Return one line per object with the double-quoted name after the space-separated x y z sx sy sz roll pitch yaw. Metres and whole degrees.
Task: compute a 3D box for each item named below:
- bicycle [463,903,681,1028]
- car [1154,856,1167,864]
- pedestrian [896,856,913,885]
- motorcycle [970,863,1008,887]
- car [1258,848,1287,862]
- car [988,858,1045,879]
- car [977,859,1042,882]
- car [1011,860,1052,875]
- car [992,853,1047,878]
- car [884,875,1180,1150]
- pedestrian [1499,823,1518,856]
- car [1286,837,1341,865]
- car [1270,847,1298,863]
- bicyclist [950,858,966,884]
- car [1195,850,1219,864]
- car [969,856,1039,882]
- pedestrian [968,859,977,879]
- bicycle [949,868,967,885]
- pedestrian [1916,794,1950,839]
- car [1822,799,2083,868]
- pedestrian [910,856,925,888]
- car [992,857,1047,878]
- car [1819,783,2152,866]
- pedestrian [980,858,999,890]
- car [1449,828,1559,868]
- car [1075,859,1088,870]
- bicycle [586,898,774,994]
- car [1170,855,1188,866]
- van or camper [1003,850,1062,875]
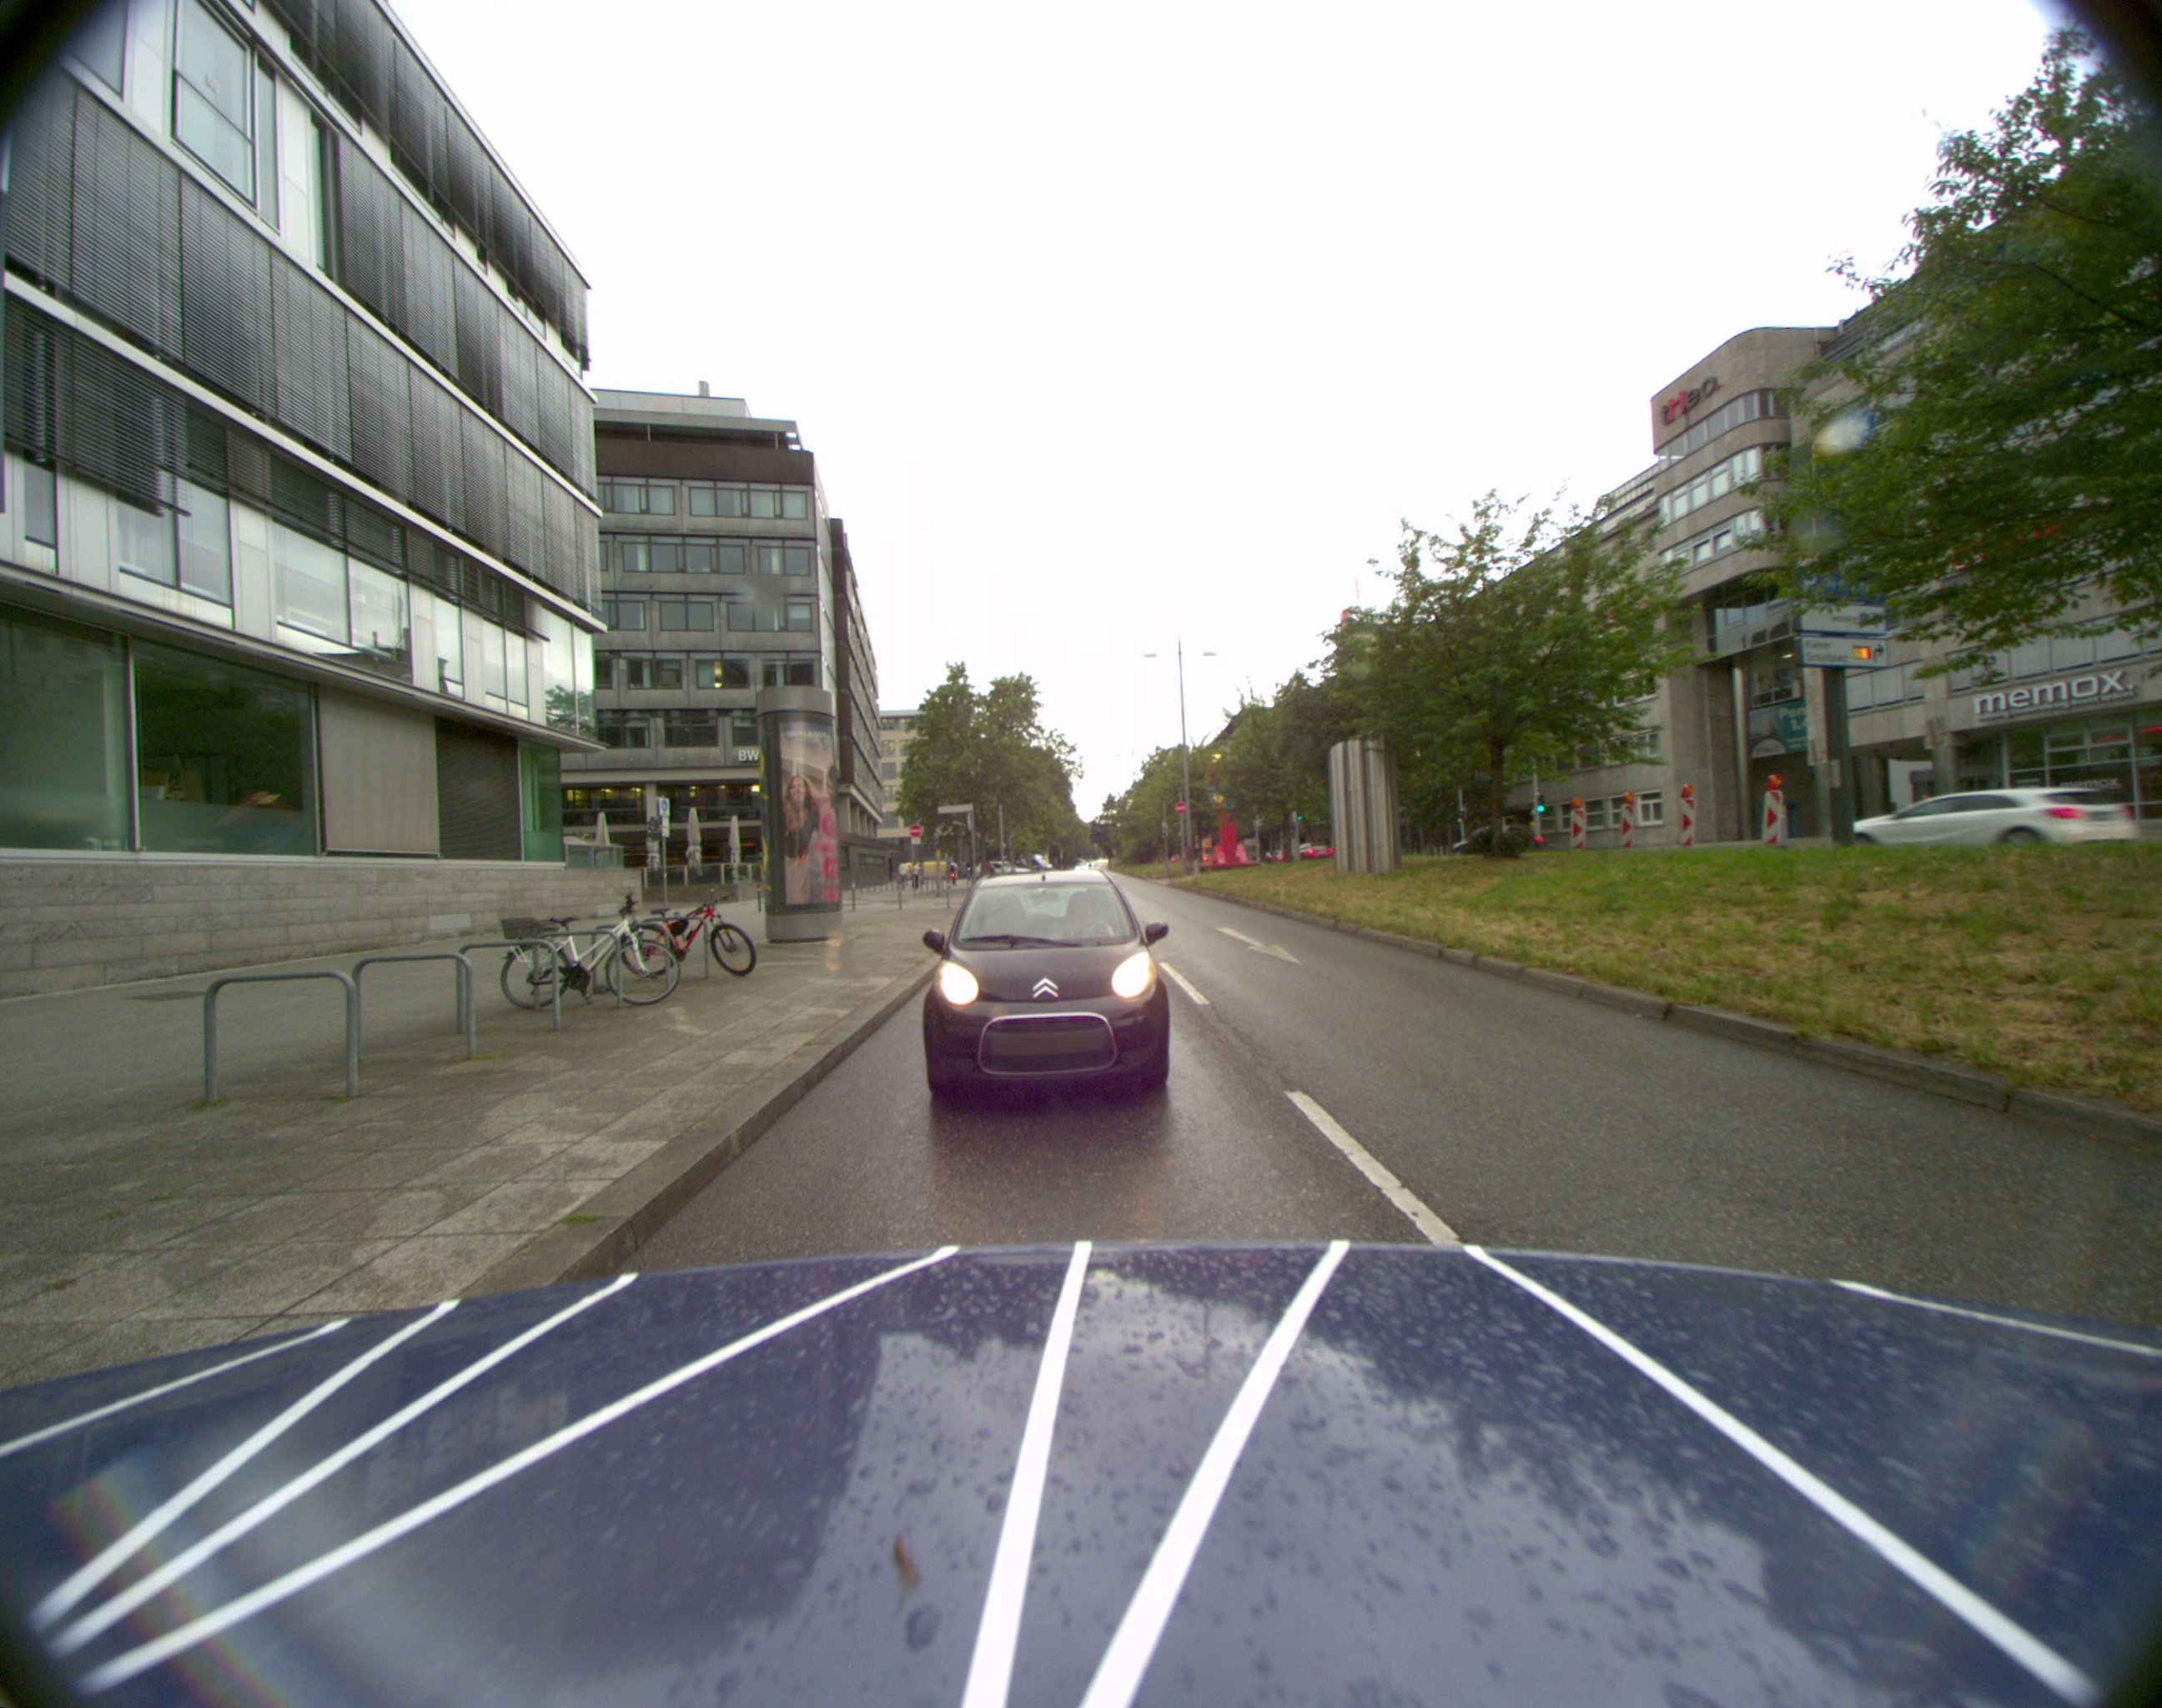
-5.297 1.144 7.964 1.840 1.190 0.660 -1 0 4 "bicycle"
13.557 1.056 129.589 1.794 1.406 4.000 -1 -1 -1 "car"
-11.662 1.112 50.137 0.803 1.857 0.898 -3 0 0 "pedestrian"
-5.580 1.277 46.060 2.087 1.349 0.677 -3 0 7 "motorcycle"
20.534 0.125 81.651 1.791 1.478 4.574 -2 0 -3 "car"
-5.434 1.204 63.693 4.347 1.528 1.919 -4 0 27 "car"
-5.545 1.269 58.713 4.711 1.465 1.920 -4 0 32 "car"
-5.389 1.455 82.703 4.052 1.415 1.711 -4 0 29 "car"
-5.613 1.072 69.297 4.507 1.981 1.925 -4 0 29 "car"
-0.341 0.963 6.311 1.634 1.408 3.834 -3 0 -2 "car"
23.171 -0.783 41.217 0.529 1.777 0.721 -3 0 1 "pedestrian"
15.421 -0.157 50.648 1.951 1.690 3.997 -3 0 -8 "car"
20.565 0.102 77.094 1.690 1.493 3.692 -2 0 -3 "car"
-8.936 1.228 55.181 0.811 1.739 1.079 -6 2 2 "bicyclist"
14.131 0.319 85.360 1.866 1.421 4.132 -2 0 -2 "car"
-5.646 1.110 55.609 4.792 1.640 1.920 -4 0 30 "car"
-10.368 1.408 72.583 0.721 1.873 0.656 -3 0 -6 "pedestrian"
-8.905 1.613 55.240 0.776 1.132 1.978 -6 0 3 "bicycle"
34.770 -1.525 31.024 0.721 1.777 0.529 -3 0 -2 "pedestrian"
24.756 -0.506 21.937 1.867 1.715 4.791 -2 0 -3 "car"
-10.826 1.175 50.198 0.853 2.027 0.752 -3 0 -14 "pedestrian"
-5.376 1.207 66.374 4.381 1.528 1.919 -4 0 27 "car"
18.755 -0.537 16.115 1.825 1.466 4.190 -3 0 -8 "car"
-4.921 1.093 40.904 0.723 1.675 0.528 -3 0 -44 "pedestrian"
17.244 -0.225 31.237 1.873 1.466 3.997 -3 0 -8 "car"
0.064 1.773 128.576 1.791 1.736 4.574 -2 0 -3 "car"
-5.137 1.168 9.816 1.988 1.097 0.808 -2 0 4 "bicycle"
14.069 0.905 109.357 1.866 1.421 4.566 -2 0 -1 "car"
-5.532 0.936 86.369 6.251 2.432 2.319 -4 0 30 "van or camper"
